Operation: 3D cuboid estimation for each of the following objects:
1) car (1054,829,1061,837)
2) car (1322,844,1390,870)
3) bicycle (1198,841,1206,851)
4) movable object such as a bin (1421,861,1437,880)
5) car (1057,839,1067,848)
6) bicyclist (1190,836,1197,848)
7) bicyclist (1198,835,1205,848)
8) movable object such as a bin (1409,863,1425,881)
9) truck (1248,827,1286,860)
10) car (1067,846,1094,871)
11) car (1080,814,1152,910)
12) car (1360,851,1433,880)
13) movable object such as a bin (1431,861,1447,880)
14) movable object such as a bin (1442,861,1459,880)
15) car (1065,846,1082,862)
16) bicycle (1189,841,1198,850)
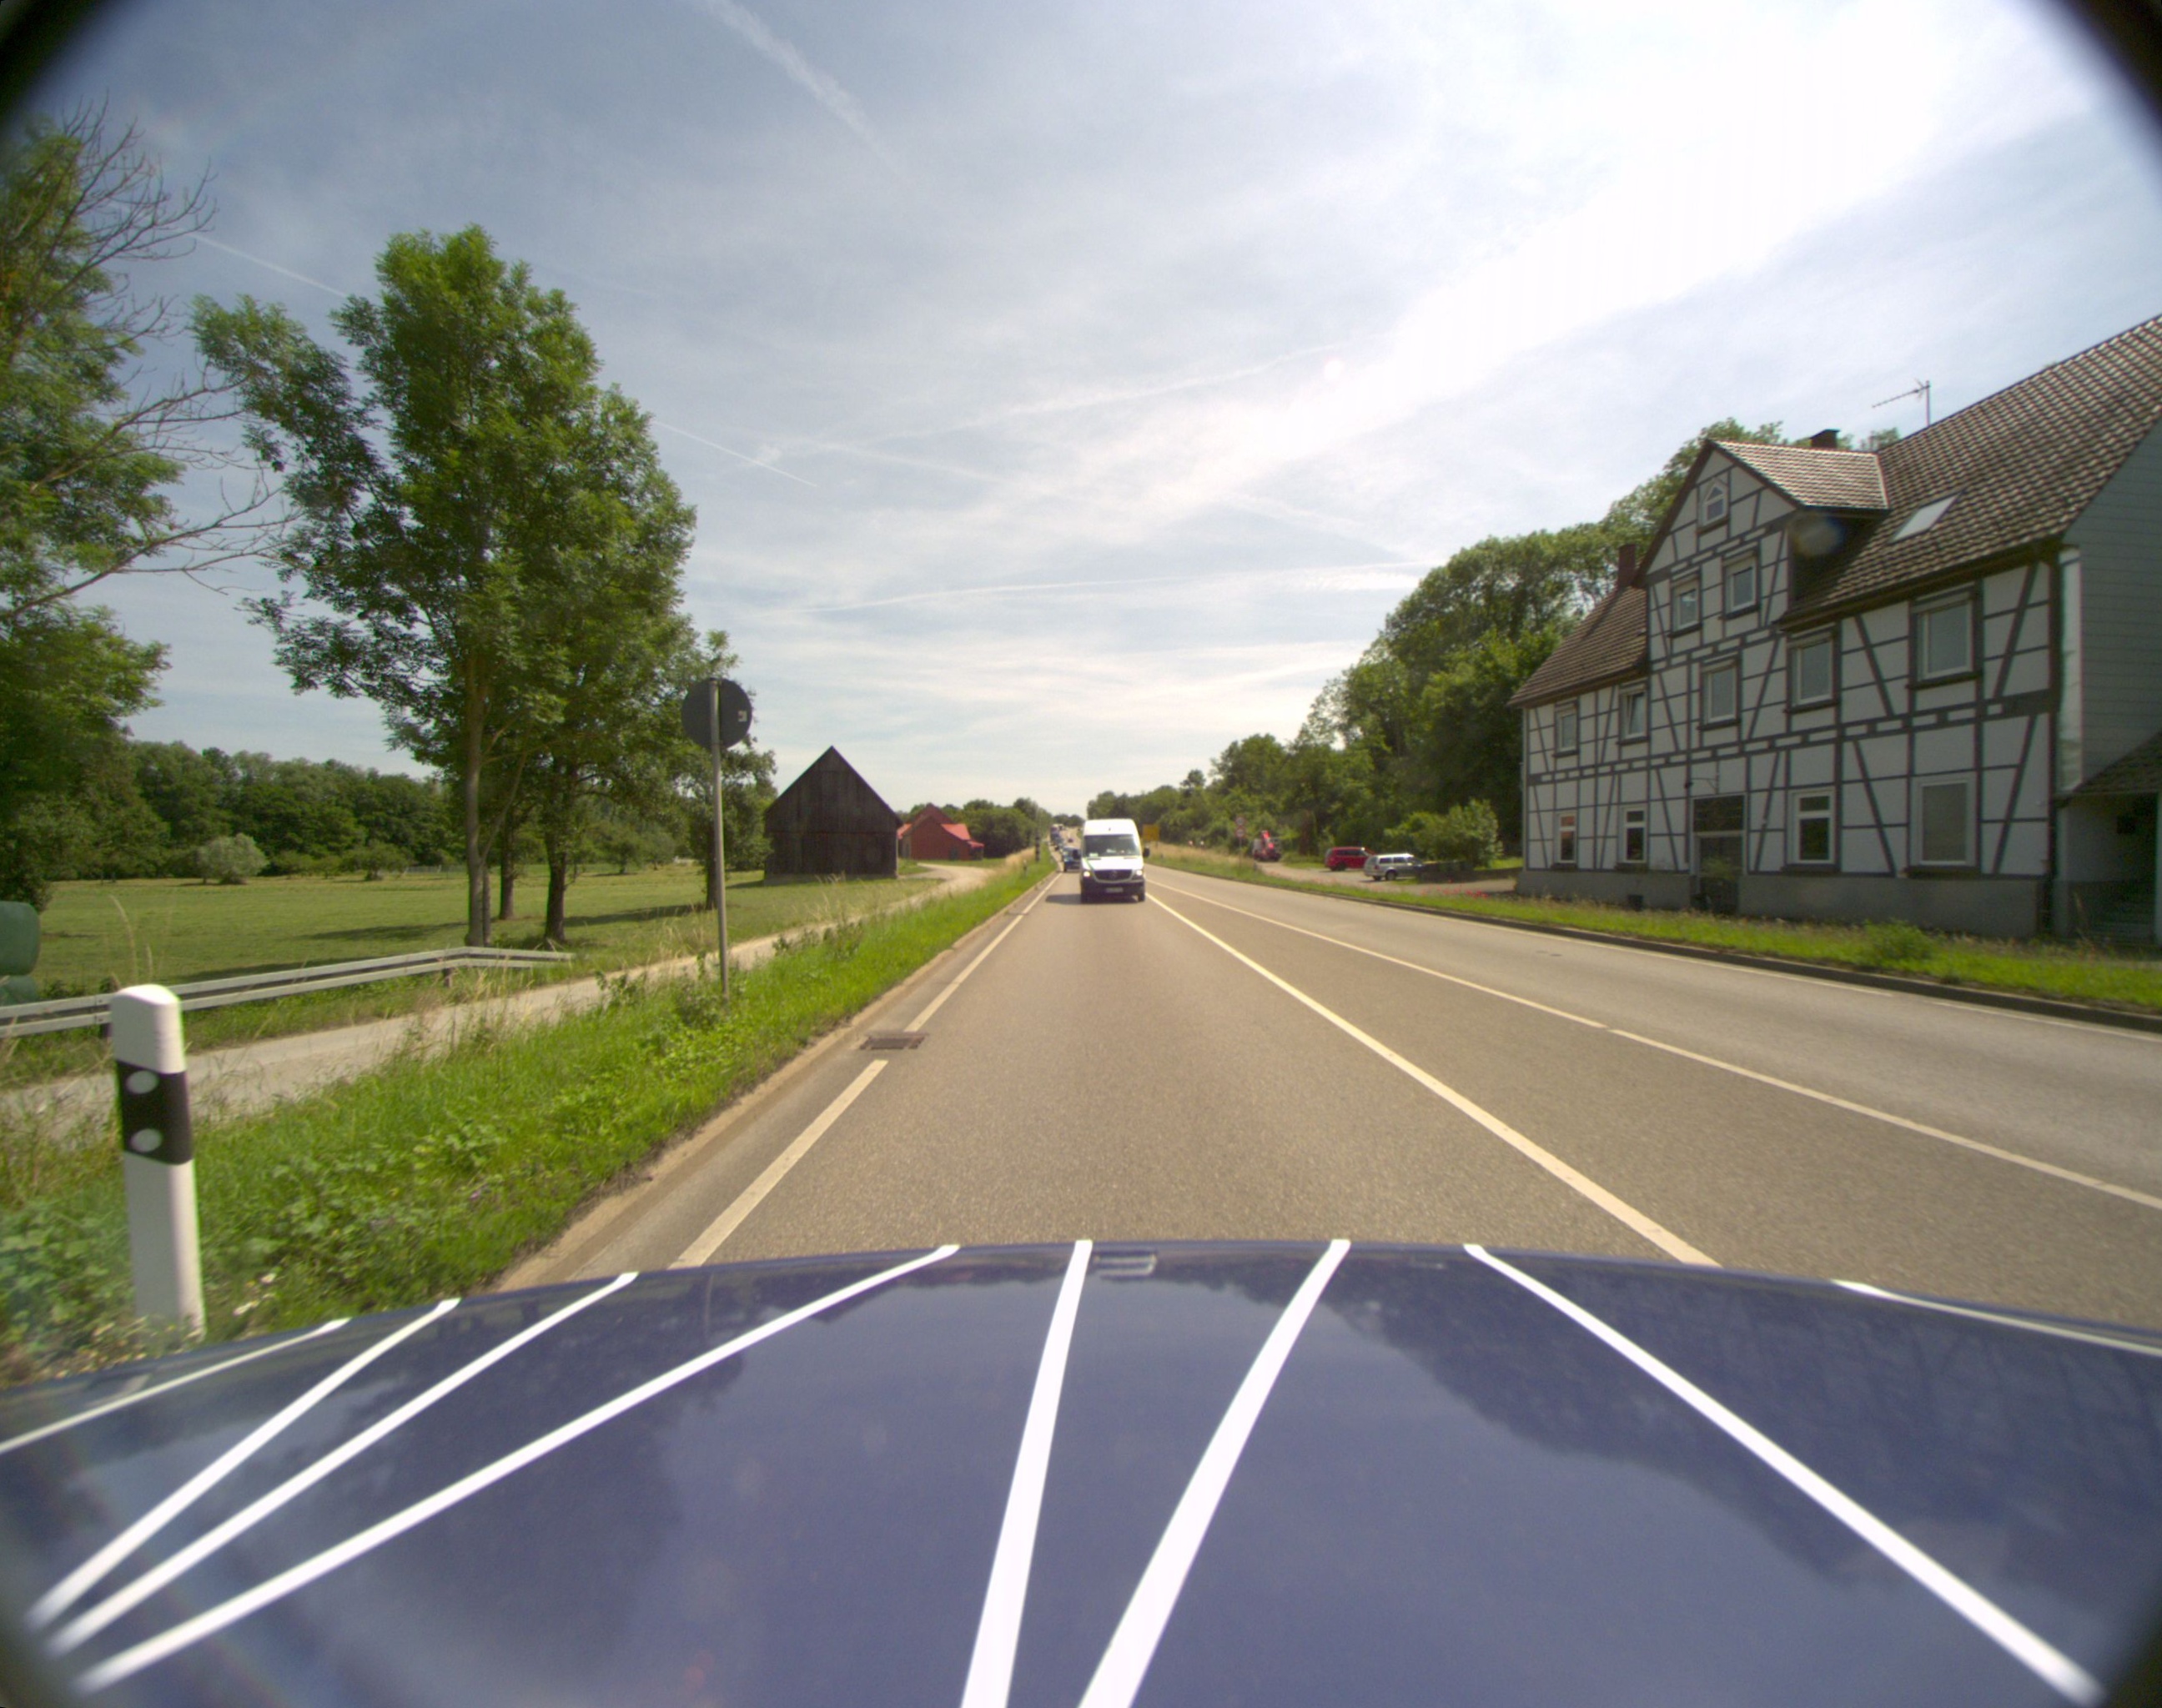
[{"bbox_3d":[-6.826,-6.012,219.689,1.998,2.166,3.999,-2,1,1],"label":"car"},{"bbox_3d":[19.072,0.200,52.809,4.037,1.609,1.833,-1,1,1],"label":"car"},{"bbox_3d":[15.400,-1.015,96.724,0.750,1.174,2.104,-2,1,2],"label":"bicycle"},{"bbox_3d":[18.469,0.858,40.290,0.505,0.964,0.654,-2,2,-8],"label":"movable object such as a bin"},{"bbox_3d":[-3.785,-1.998,147.756,1.849,1.693,4.240,0,2,-2],"label":"car"},{"bbox_3d":[14.813,-1.540,100.140,0.750,1.586,0.936,-2,2,0],"label":"bicyclist"},{"bbox_3d":[15.380,-1.599,96.712,0.750,1.705,0.936,-2,2,2],"label":"bicyclist"},{"bbox_3d":[17.839,0.939,40.323,0.505,0.931,0.654,-2,2,-8],"label":"movable object such as a bin"},{"bbox_3d":[17.985,-1.028,73.764,2.031,2.947,6.772,-2,1,1],"label":"truck"},{"bbox_3d":[-0.054,0.322,54.216,1.848,1.692,4.243,0,-1,0],"label":"car"},{"bbox_3d":[0.967,0.188,23.919,1.960,2.656,5.679,-1,1,0],"label":"car"},{"bbox_3d":[17.777,0.641,42.877,3.387,1.457,1.609,-2,1,-6],"label":"car"},{"bbox_3d":[19.021,0.866,40.402,0.505,0.966,0.654,-2,2,-8],"label":"movable object such as a bin"},{"bbox_3d":[19.689,0.866,40.478,0.505,0.971,0.654,-2,2,-8],"label":"movable object such as a bin"},{"bbox_3d":[-0.864,-0.004,85.234,1.848,1.693,4.240,0,2,-1],"label":"car"},{"bbox_3d":[14.835,-1.111,100.176,0.750,1.206,2.104,-2,1,0],"label":"bicycle"}]
